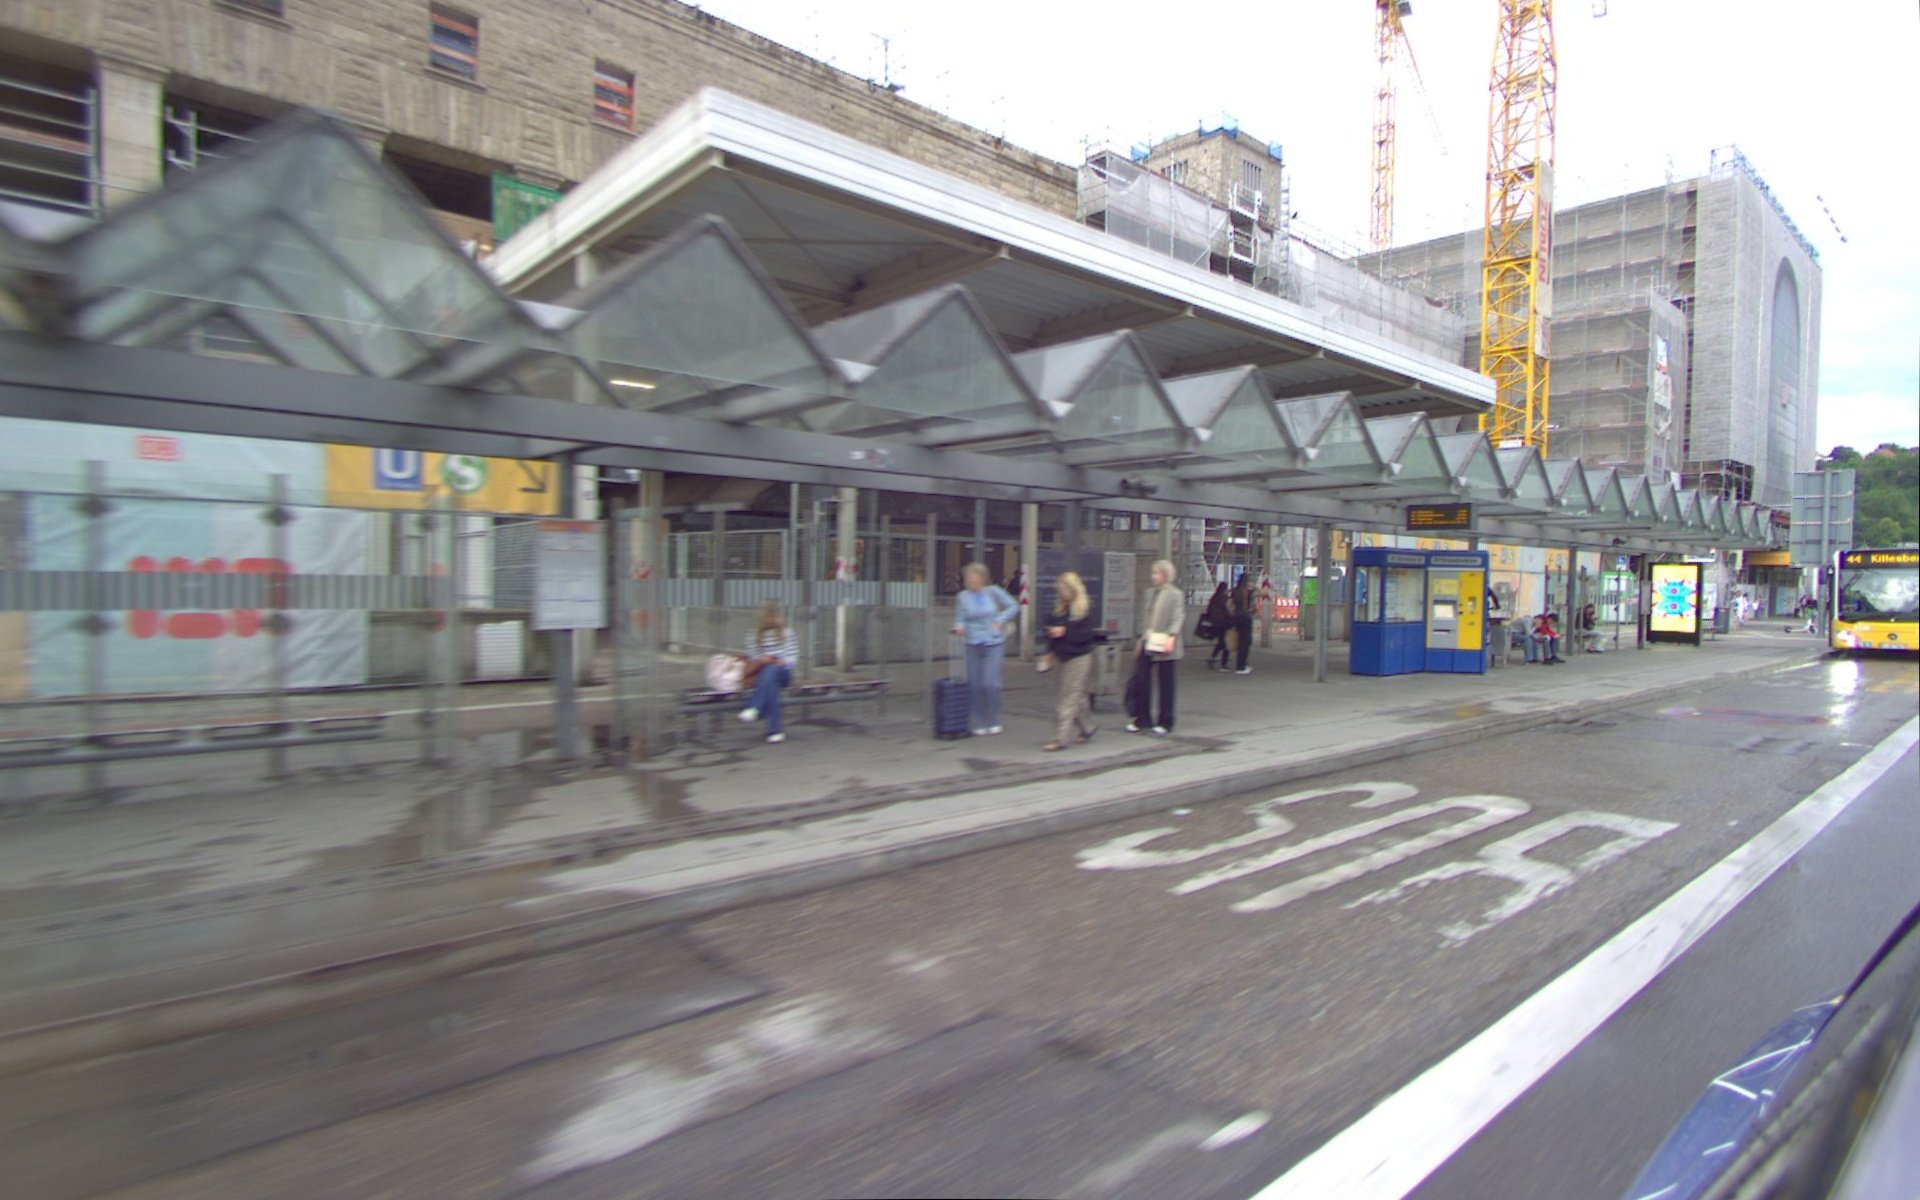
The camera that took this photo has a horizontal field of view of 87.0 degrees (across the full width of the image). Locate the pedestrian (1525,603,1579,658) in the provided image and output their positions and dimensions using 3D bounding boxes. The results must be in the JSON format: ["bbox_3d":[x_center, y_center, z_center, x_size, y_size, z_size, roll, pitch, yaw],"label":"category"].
[{"bbox_3d":[12.326,0.615,21.064,0.794,1.078,0.728,0,2,-42],"label":"pedestrian"}]

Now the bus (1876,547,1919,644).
[{"bbox_3d":[34.177,-0.164,35.109,8.925,3.107,2.759,0,1,-42],"label":"bus"}]

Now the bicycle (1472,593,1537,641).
[{"bbox_3d":[14.662,0.431,27.226,2.366,1.212,0.815,0,2,-44],"label":"bicycle"}]

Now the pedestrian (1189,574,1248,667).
[{"bbox_3d":[4.670,0.353,18.302,0.717,1.627,0.707,0,2,-44],"label":"pedestrian"}]

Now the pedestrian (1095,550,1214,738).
[{"bbox_3d":[1.882,0.388,9.801,0.808,1.714,0.764,1,1,-42],"label":"pedestrian"}]

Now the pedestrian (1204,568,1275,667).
[{"bbox_3d":[4.743,0.283,17.186,0.732,1.627,0.908,1,-1,-41],"label":"pedestrian"}]

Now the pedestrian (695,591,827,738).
[{"bbox_3d":[-1.822,0.547,9.231,0.826,1.246,0.914,1,0,-41],"label":"pedestrian"}]

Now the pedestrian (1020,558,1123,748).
[{"bbox_3d":[0.982,0.436,8.882,0.716,1.585,0.522,1,1,-42],"label":"pedestrian"}]

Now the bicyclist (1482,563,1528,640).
[{"bbox_3d":[14.647,0.037,27.187,0.804,2.006,0.823,1,1,-43],"label":"bicyclist"}]

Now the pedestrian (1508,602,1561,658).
[{"bbox_3d":[11.648,0.595,20.530,0.697,1.078,0.728,1,2,-42],"label":"pedestrian"}]

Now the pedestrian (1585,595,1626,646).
[{"bbox_3d":[15.885,0.498,24.893,0.654,1.201,0.666,1,2,-42],"label":"pedestrian"}]

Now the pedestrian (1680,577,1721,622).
[{"bbox_3d":[27.962,-0.028,38.240,0.811,1.655,0.911,1,1,-15],"label":"pedestrian"}]

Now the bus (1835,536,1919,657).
[{"bbox_3d":[27.629,-0.125,29.076,8.840,3.104,2.759,0,1,-42],"label":"bus"}]

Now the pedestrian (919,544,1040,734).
[{"bbox_3d":[0.183,0.339,9.512,0.790,1.681,0.809,1,0,-42],"label":"pedestrian"}]

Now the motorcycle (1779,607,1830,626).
[{"bbox_3d":[35.176,0.673,42.148,1.514,0.764,0.583,1,0,24],"label":"motorcycle"}]
